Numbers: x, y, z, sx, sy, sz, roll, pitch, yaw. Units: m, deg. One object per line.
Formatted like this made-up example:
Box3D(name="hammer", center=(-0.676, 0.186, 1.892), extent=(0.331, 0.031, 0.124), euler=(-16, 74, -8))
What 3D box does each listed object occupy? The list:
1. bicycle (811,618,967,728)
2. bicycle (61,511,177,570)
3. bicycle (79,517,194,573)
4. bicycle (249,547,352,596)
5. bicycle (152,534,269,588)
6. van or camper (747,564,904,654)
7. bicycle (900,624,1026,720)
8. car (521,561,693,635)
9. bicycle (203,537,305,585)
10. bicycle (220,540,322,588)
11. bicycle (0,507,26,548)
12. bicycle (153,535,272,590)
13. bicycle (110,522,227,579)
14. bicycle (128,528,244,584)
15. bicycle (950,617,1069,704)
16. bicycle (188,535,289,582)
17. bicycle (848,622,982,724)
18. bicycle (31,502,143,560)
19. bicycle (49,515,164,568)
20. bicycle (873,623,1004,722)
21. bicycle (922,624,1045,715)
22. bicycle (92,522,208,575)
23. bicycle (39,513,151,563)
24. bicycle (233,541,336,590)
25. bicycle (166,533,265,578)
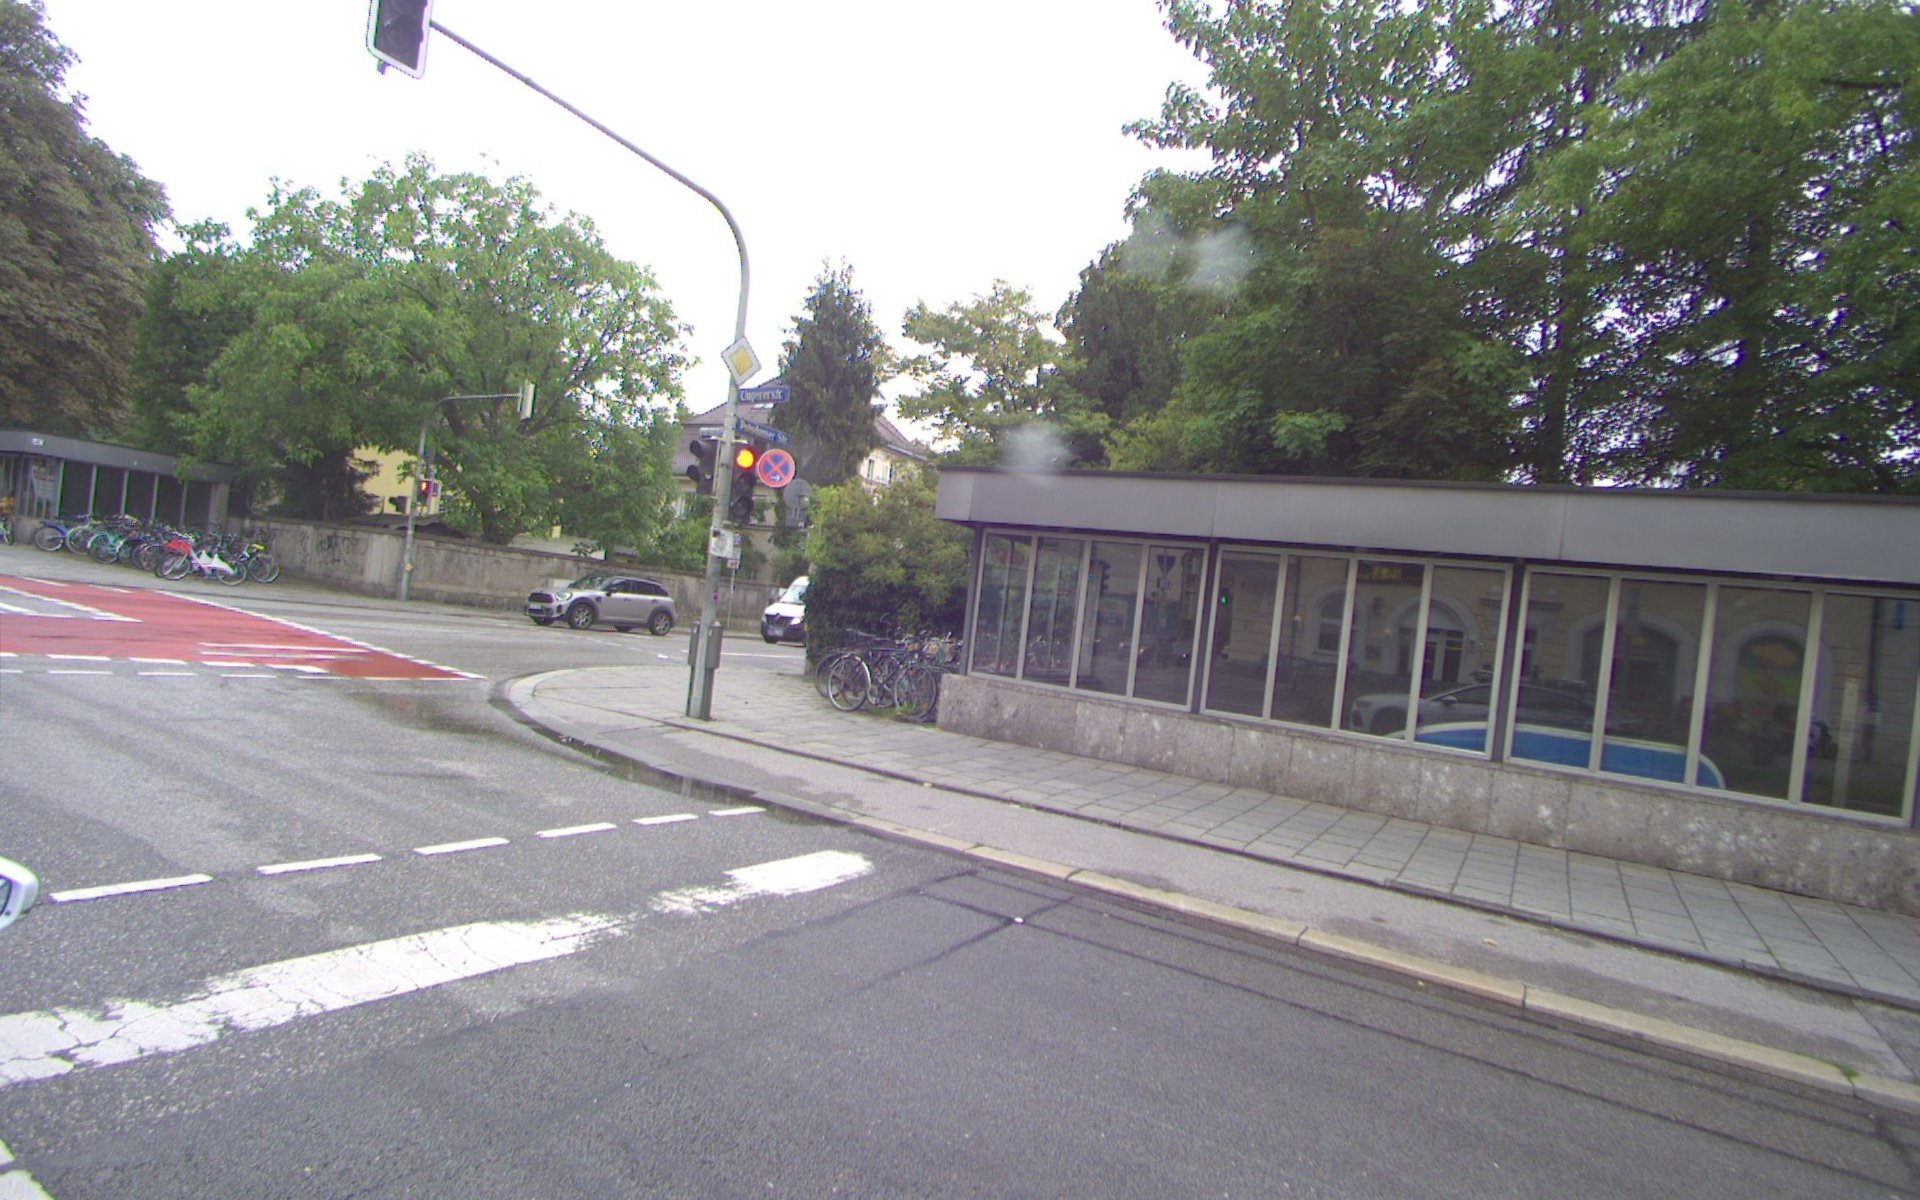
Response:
Box3D(name="bicycle", center=(-0.916, 0.901, 12.706), extent=(1.858, 1.135, 0.600), euler=(6, 0, 32))
Box3D(name="bicycle", center=(-21.697, -1.516, 25.991), extent=(0.594, 1.192, 2.141), euler=(7, 0, 39))
Box3D(name="bicycle", center=(-21.021, -1.387, 25.724), extent=(0.594, 1.099, 2.141), euler=(7, 0, 39))
Box3D(name="bicycle", center=(-17.476, -0.734, 26.713), extent=(0.625, 1.026, 2.141), euler=(7, -1, 39))
Box3D(name="bicycle", center=(-18.346, -0.944, 24.682), extent=(0.625, 1.026, 2.141), euler=(7, -1, 39))
Box3D(name="van or camper", center=(-4.512, 0.393, 34.869), extent=(2.033, 2.499, 5.558), euler=(7, -1, 33))
Box3D(name="bicycle", center=(0.023, 1.009, 14.334), extent=(1.707, 1.135, 0.469), euler=(6, 0, 32))
Box3D(name="car", center=(-9.628, -0.013, 27.727), extent=(1.668, 1.532, 4.171), euler=(7, -1, 35))
Box3D(name="bicycle", center=(-19.494, -1.061, 27.819), extent=(0.625, 1.026, 2.141), euler=(7, -1, 39))
Box3D(name="bicycle", center=(-18.791, -0.979, 27.479), extent=(0.625, 1.026, 2.141), euler=(7, -1, 39))
Box3D(name="bicycle", center=(-26.321, -2.028, 27.461), extent=(1.981, 1.027, 0.557), euler=(7, 0, 30))
Box3D(name="bicycle", center=(-17.931, -0.889, 24.189), extent=(0.594, 1.026, 2.141), euler=(7, -1, 39))
Box3D(name="bicycle", center=(-19.735, -1.214, 25.125), extent=(0.594, 1.114, 2.141), euler=(7, 0, 39))
Box3D(name="bicycle", center=(-19.128, -1.063, 24.906), extent=(0.594, 1.084, 2.141), euler=(7, 0, 39))
Box3D(name="bicycle", center=(0.750, 0.922, 15.495), extent=(1.707, 1.135, 0.469), euler=(6, 0, 32))
Box3D(name="bicycle", center=(-20.176, -1.138, 28.177), extent=(0.625, 1.026, 2.141), euler=(7, -1, 39))
Box3D(name="bicycle", center=(-0.611, 0.945, 13.287), extent=(1.707, 1.135, 0.469), euler=(6, 0, 32))
Box3D(name="bicycle", center=(-23.579, -1.843, 27.202), extent=(0.594, 1.233, 2.141), euler=(7, 0, 39))
Box3D(name="bicycle", center=(-22.304, -1.524, 26.327), extent=(0.594, 1.075, 2.141), euler=(7, 0, 39))
Box3D(name="bicycle", center=(-0.315, 0.977, 13.786), extent=(1.707, 1.135, 0.469), euler=(6, 0, 32))
Box3D(name="bicycle", center=(0.334, 1.012, 14.849), extent=(1.707, 1.135, 0.469), euler=(6, 0, 32))
Box3D(name="bicycle", center=(-20.398, -1.279, 25.383), extent=(0.594, 1.026, 2.141), euler=(7, -1, 39))
Box3D(name="bicycle", center=(-23.019, -1.635, 26.806), extent=(0.594, 1.026, 2.141), euler=(7, -1, 39))
Box3D(name="bicycle", center=(-18.155, -0.912, 27.079), extent=(0.625, 1.026, 2.141), euler=(7, -1, 39))
Box3D(name="bicycle", center=(-21.463, -1.271, 29.041), extent=(0.625, 1.026, 2.141), euler=(7, -1, 39))
